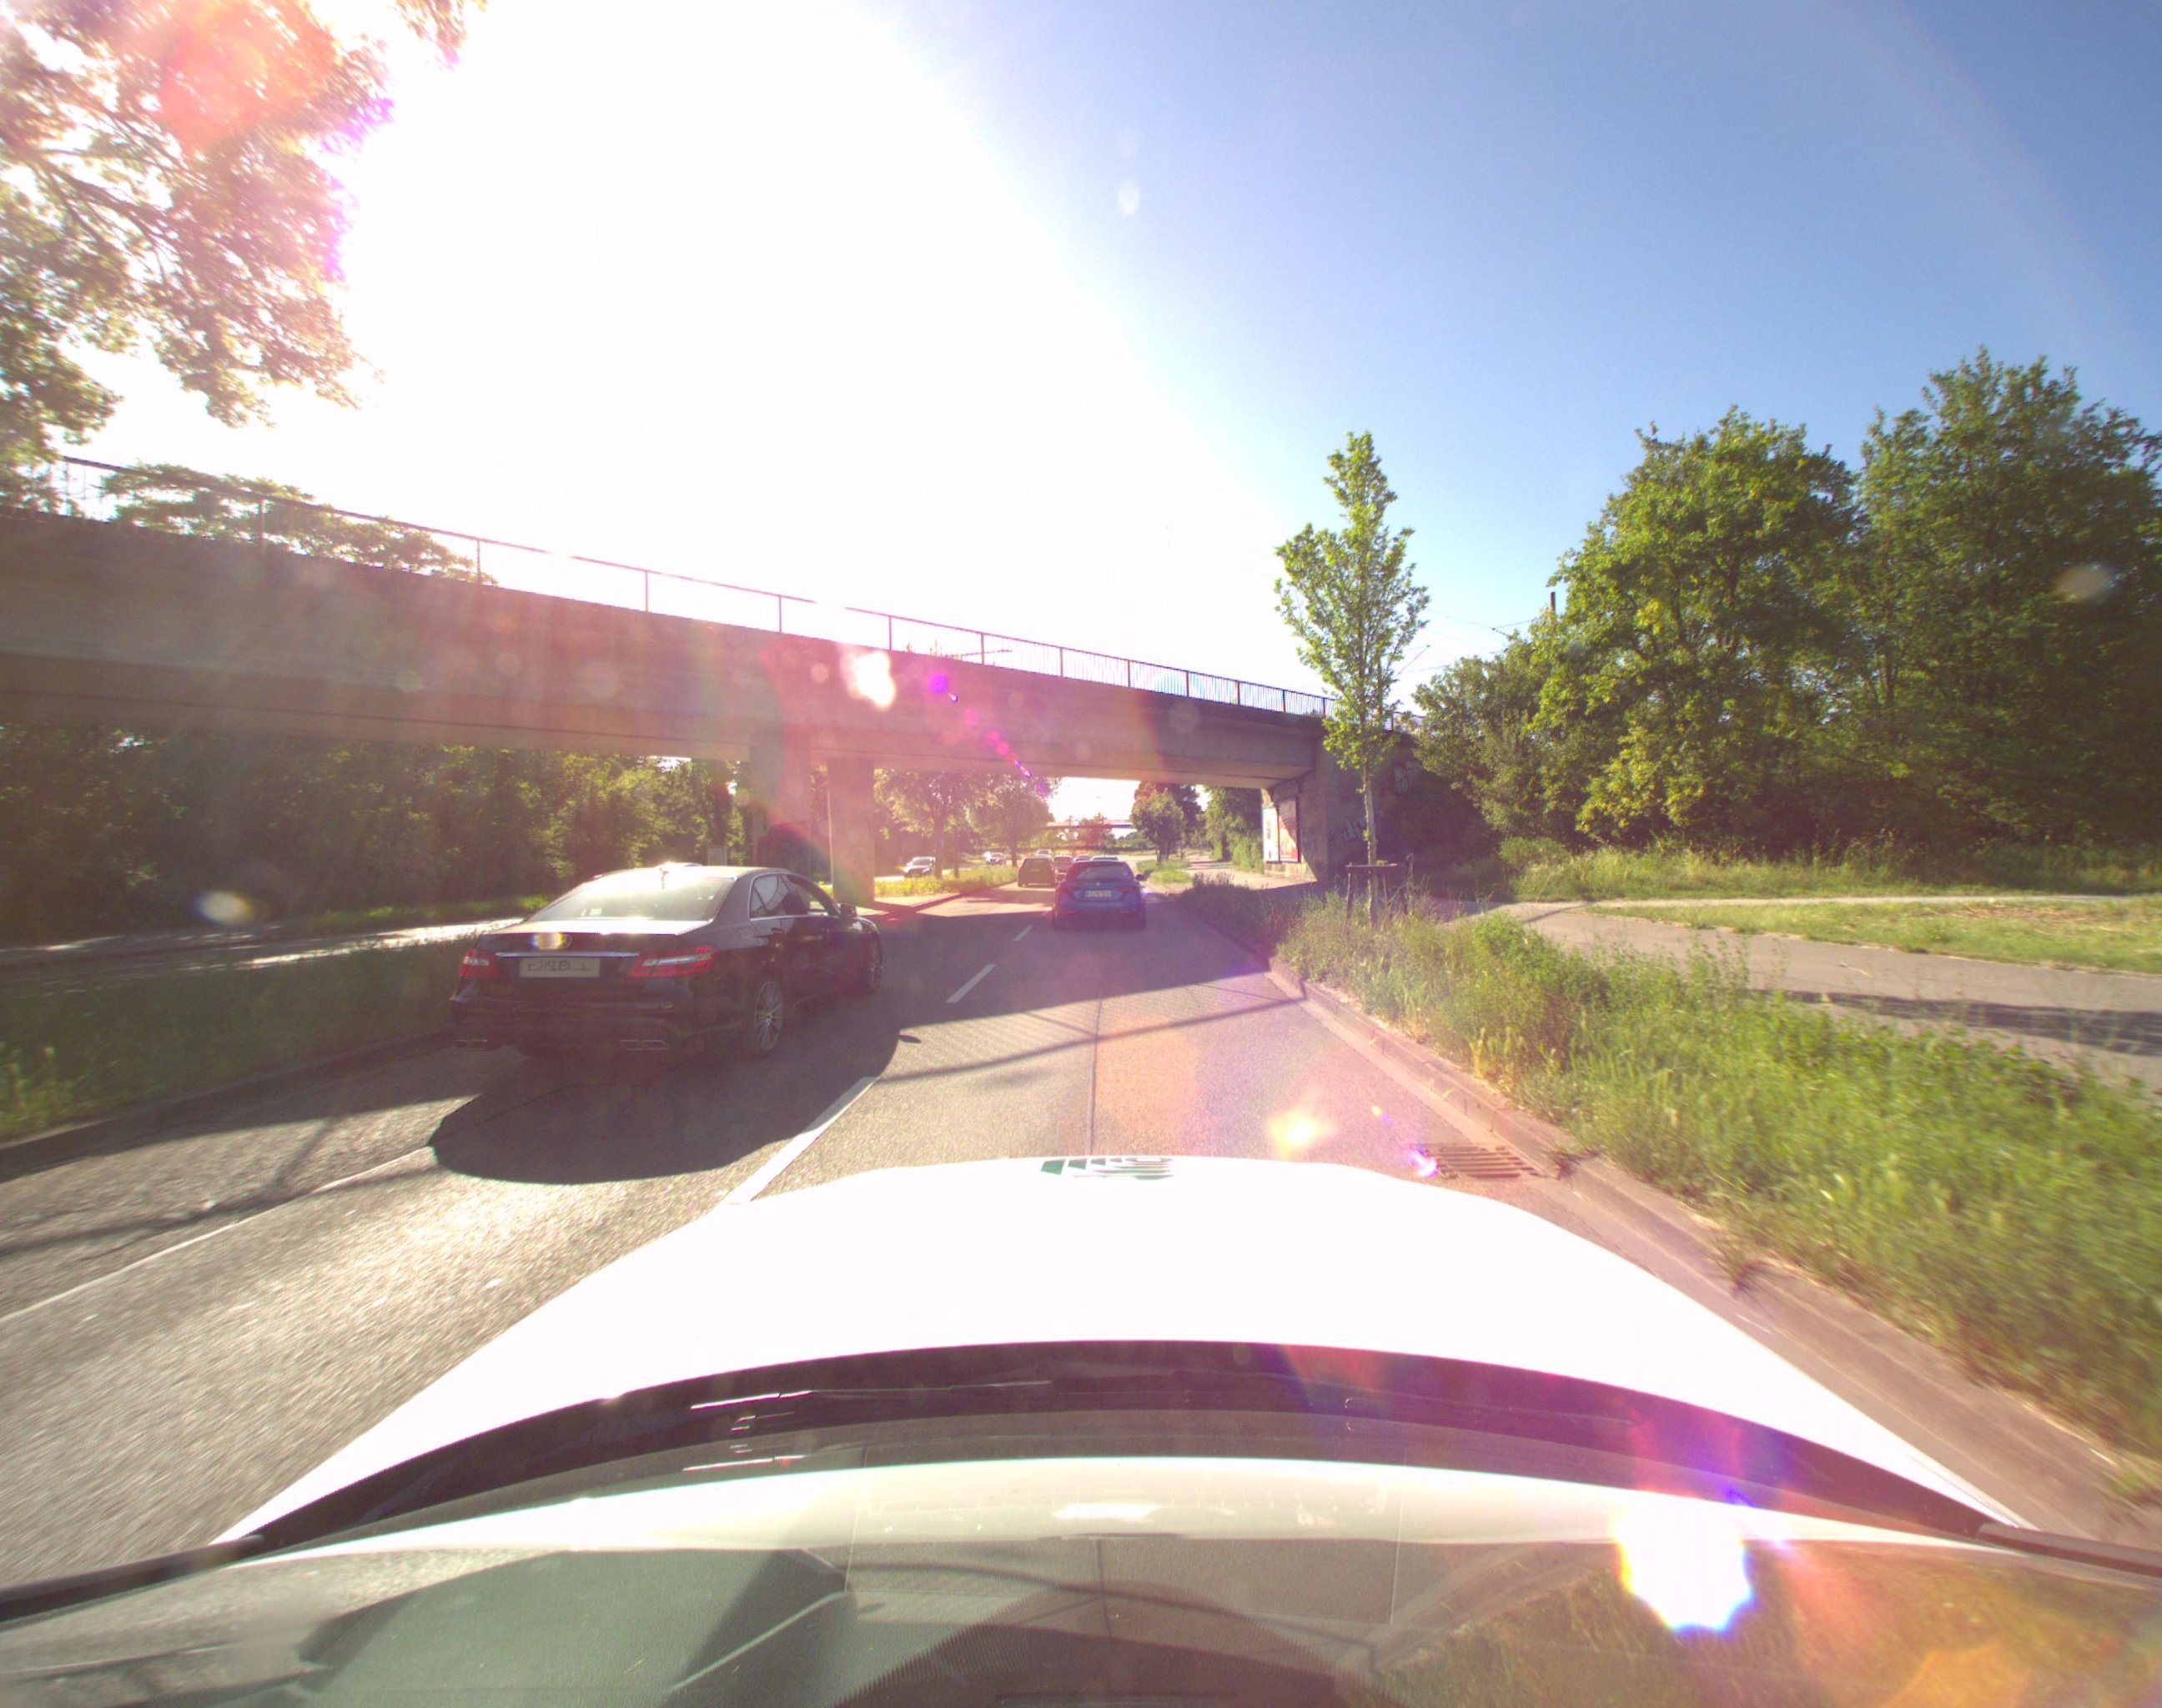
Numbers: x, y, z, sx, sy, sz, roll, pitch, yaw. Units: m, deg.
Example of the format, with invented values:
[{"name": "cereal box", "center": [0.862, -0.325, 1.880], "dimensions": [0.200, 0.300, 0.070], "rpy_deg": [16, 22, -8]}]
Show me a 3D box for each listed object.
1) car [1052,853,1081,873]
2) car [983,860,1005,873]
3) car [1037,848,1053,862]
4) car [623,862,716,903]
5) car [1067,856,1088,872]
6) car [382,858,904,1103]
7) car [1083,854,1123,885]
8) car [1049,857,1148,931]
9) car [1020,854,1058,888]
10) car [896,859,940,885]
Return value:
[{"name": "car", "center": [-1.021, 0.636, 59.167], "dimensions": [1.876, 1.454, 4.528], "rpy_deg": [0, 0, 2]}, {"name": "car", "center": [-10.889, 1.550, 102.290], "dimensions": [1.974, 1.552, 4.596], "rpy_deg": [0, 0, 3]}, {"name": "car", "center": [-5.224, 0.157, 118.869], "dimensions": [1.986, 1.929, 5.248], "rpy_deg": [-1, 0, 2]}, {"name": "car", "center": [-17.809, 1.185, 35.504], "dimensions": [1.722, 1.617, 4.181], "rpy_deg": [-3, 0, 2]}, {"name": "car", "center": [-0.295, 0.935, 76.644], "dimensions": [1.876, 1.454, 4.528], "rpy_deg": [0, 0, 2]}, {"name": "car", "center": [-3.255, 0.798, 7.501], "dimensions": [1.951, 1.483, 4.921], "rpy_deg": [-1, 0, 3]}, {"name": "car", "center": [1.099, 0.746, 40.101], "dimensions": [1.876, 1.454, 4.528], "rpy_deg": [0, 0, 2]}, {"name": "car", "center": [0.409, 0.775, 17.629], "dimensions": [1.876, 1.406, 4.226], "rpy_deg": [0, 0, 2]}, {"name": "car", "center": [-2.022, 0.792, 39.963], "dimensions": [1.703, 1.598, 4.222], "rpy_deg": [0, 0, -1]}, {"name": "car", "center": [-10.744, 1.174, 53.969], "dimensions": [1.835, 1.543, 4.002], "rpy_deg": [-4, 0, 2]}]
